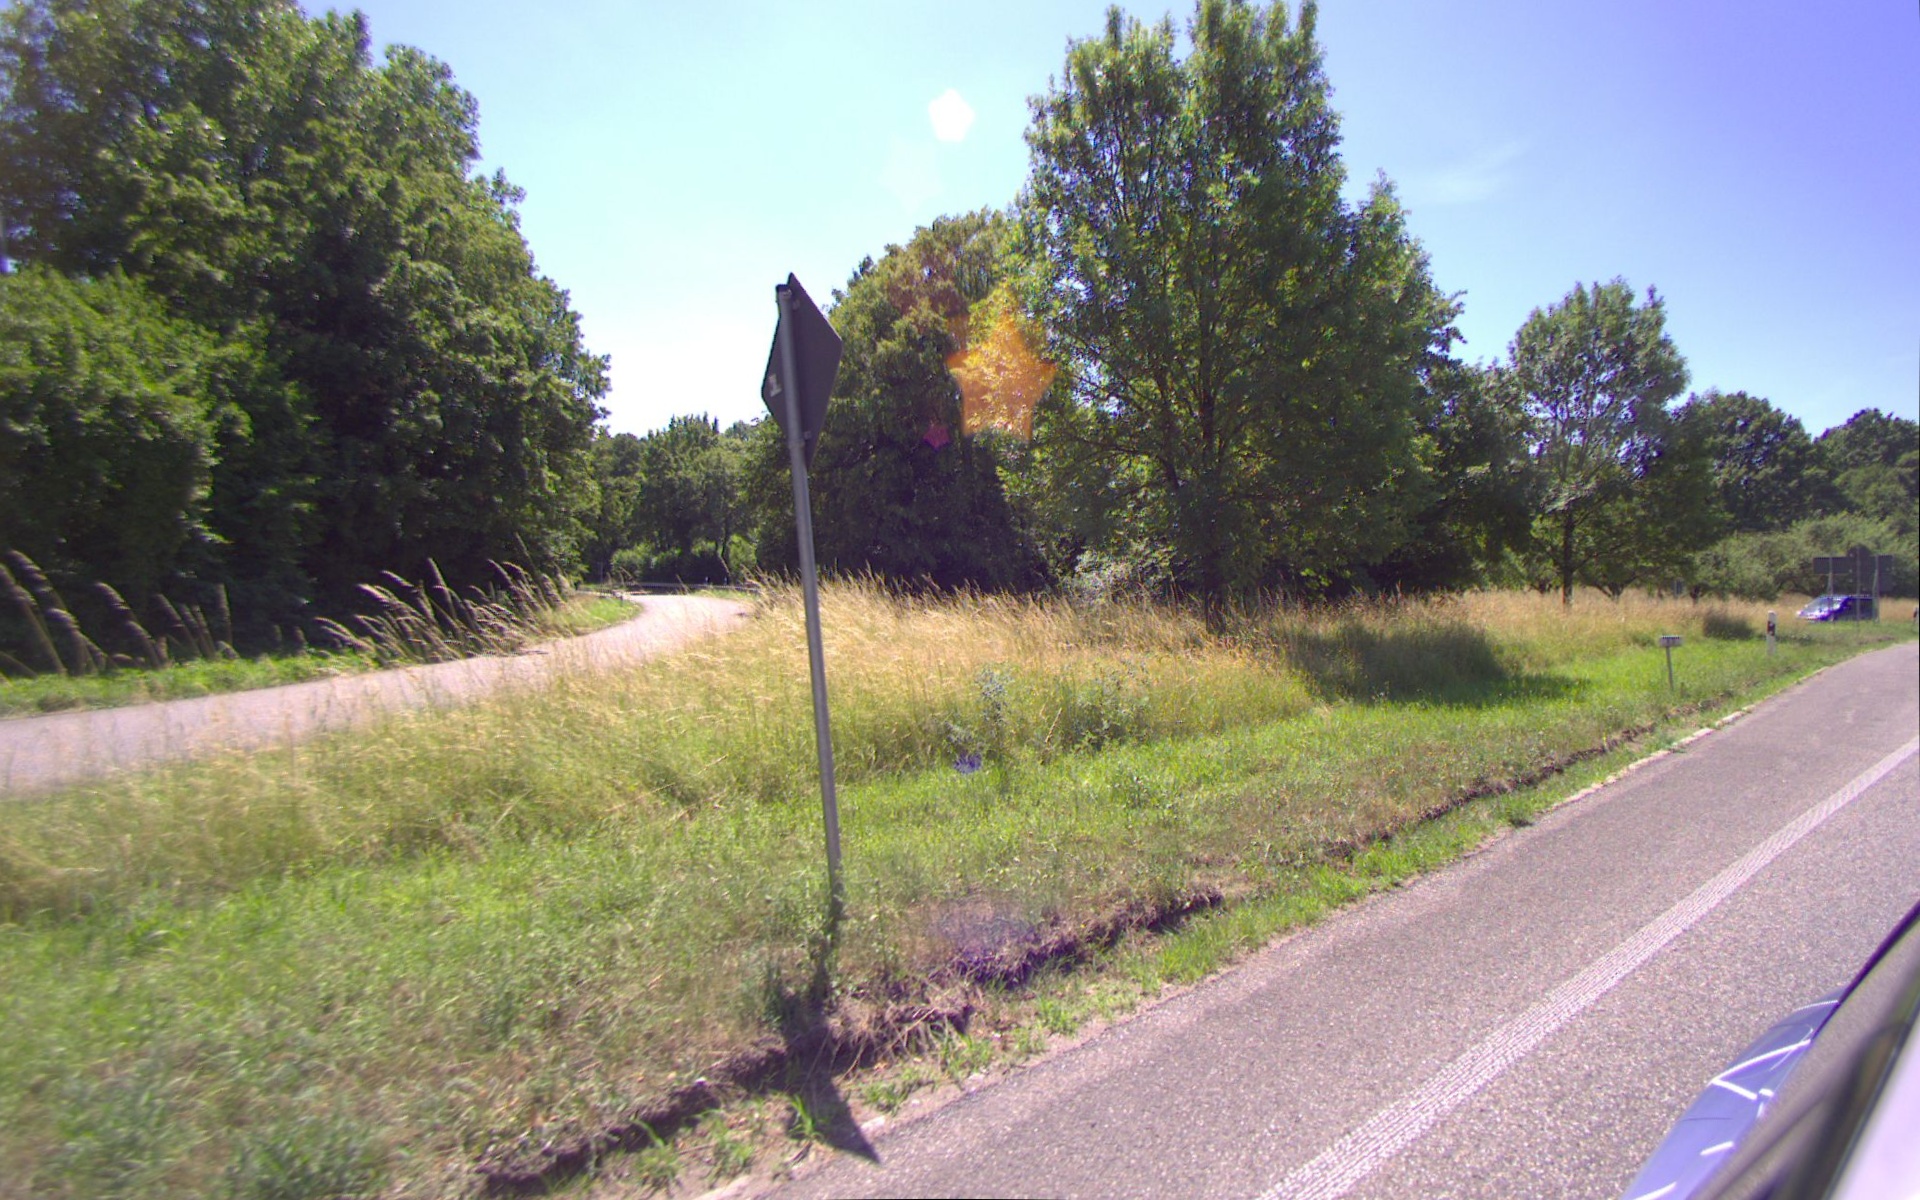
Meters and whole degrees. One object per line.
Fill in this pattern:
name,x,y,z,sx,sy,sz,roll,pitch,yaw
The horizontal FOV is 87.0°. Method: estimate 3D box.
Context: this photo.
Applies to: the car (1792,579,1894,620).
car,42.523,-0.036,48.773,3.916,1.866,1.752,0,2,-14
